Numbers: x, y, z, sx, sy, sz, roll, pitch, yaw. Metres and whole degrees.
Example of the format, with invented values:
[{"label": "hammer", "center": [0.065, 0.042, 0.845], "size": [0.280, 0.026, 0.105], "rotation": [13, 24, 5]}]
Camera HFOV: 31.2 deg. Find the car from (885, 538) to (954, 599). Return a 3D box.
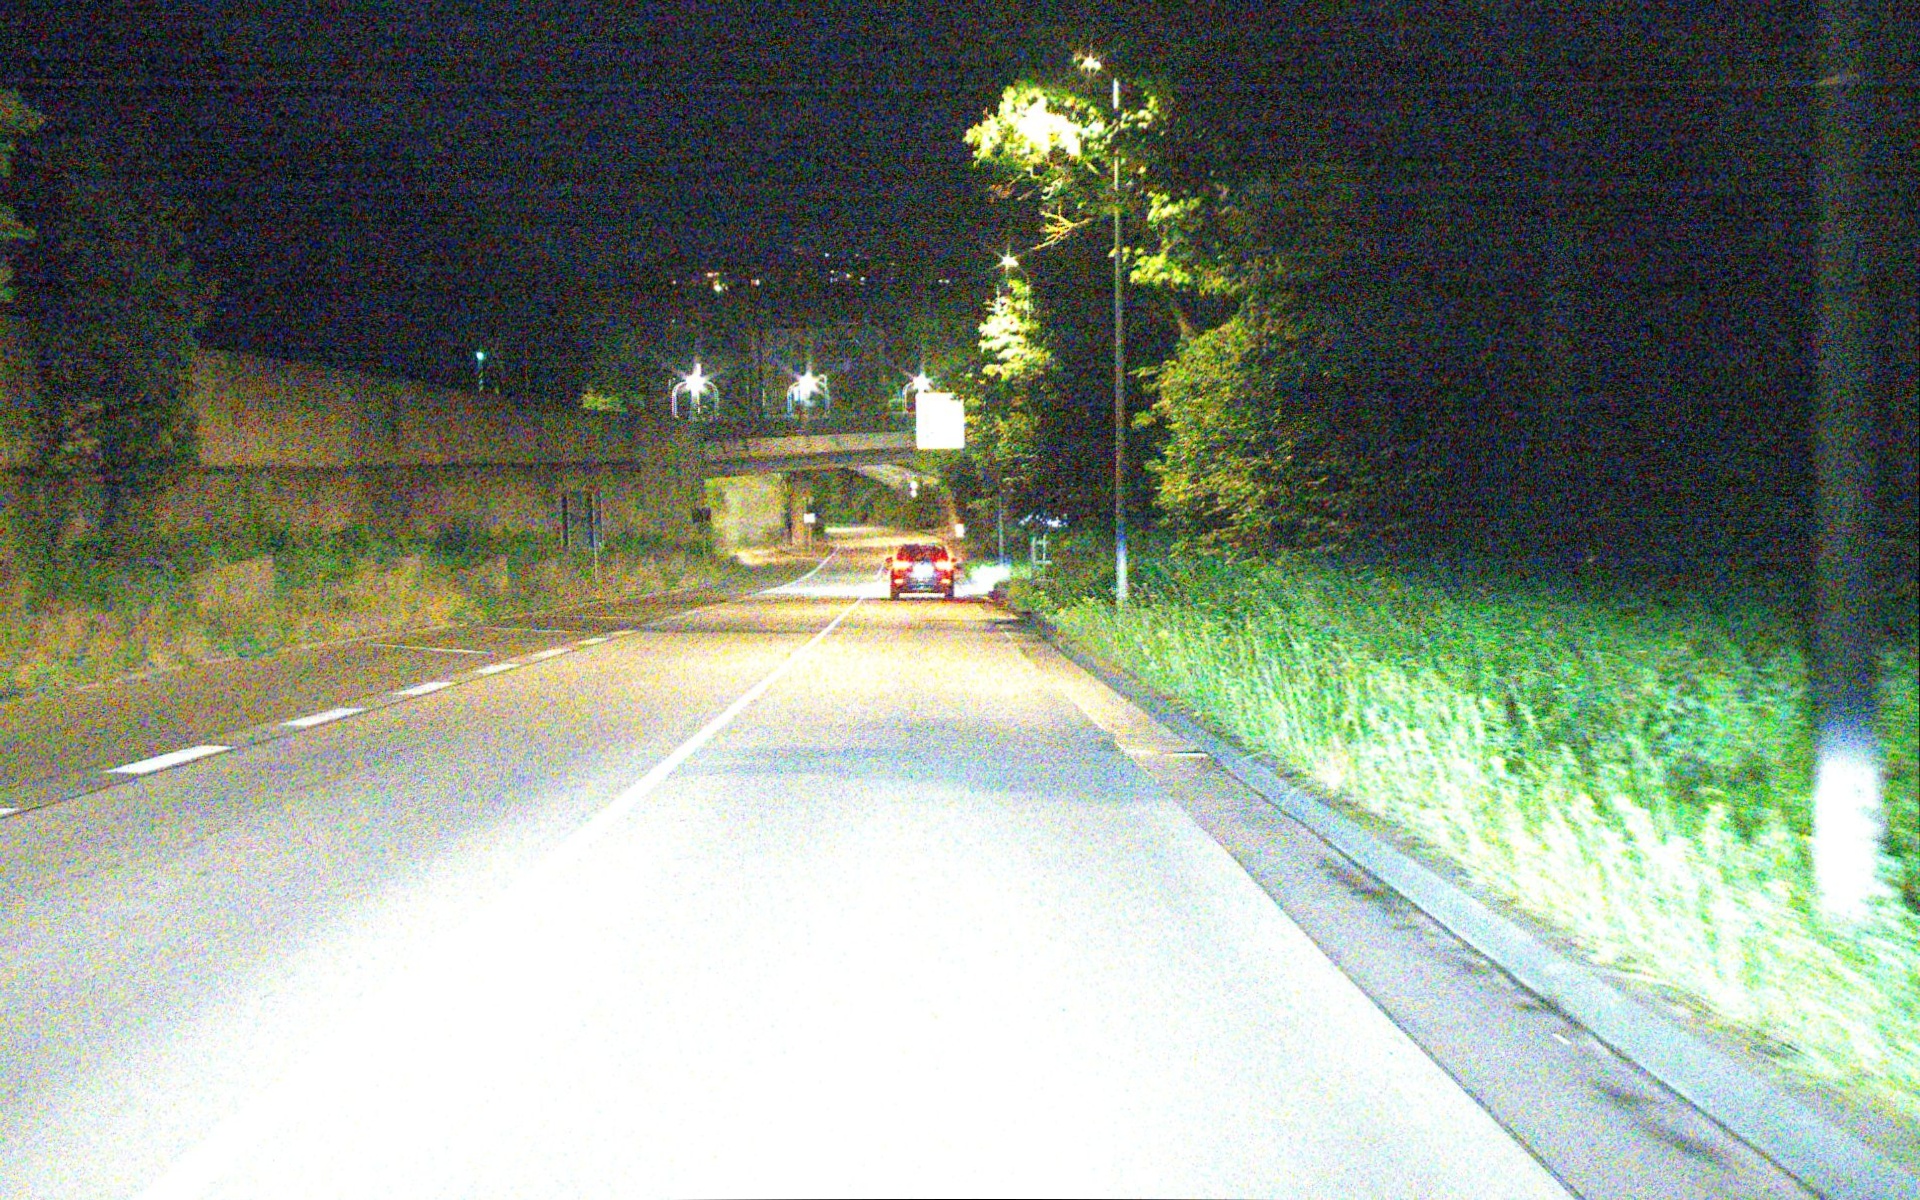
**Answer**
[{"label": "car", "center": [-1.141, -0.916, 97.847], "size": [1.763, 1.636, 3.723], "rotation": [0, 2, 2]}]
